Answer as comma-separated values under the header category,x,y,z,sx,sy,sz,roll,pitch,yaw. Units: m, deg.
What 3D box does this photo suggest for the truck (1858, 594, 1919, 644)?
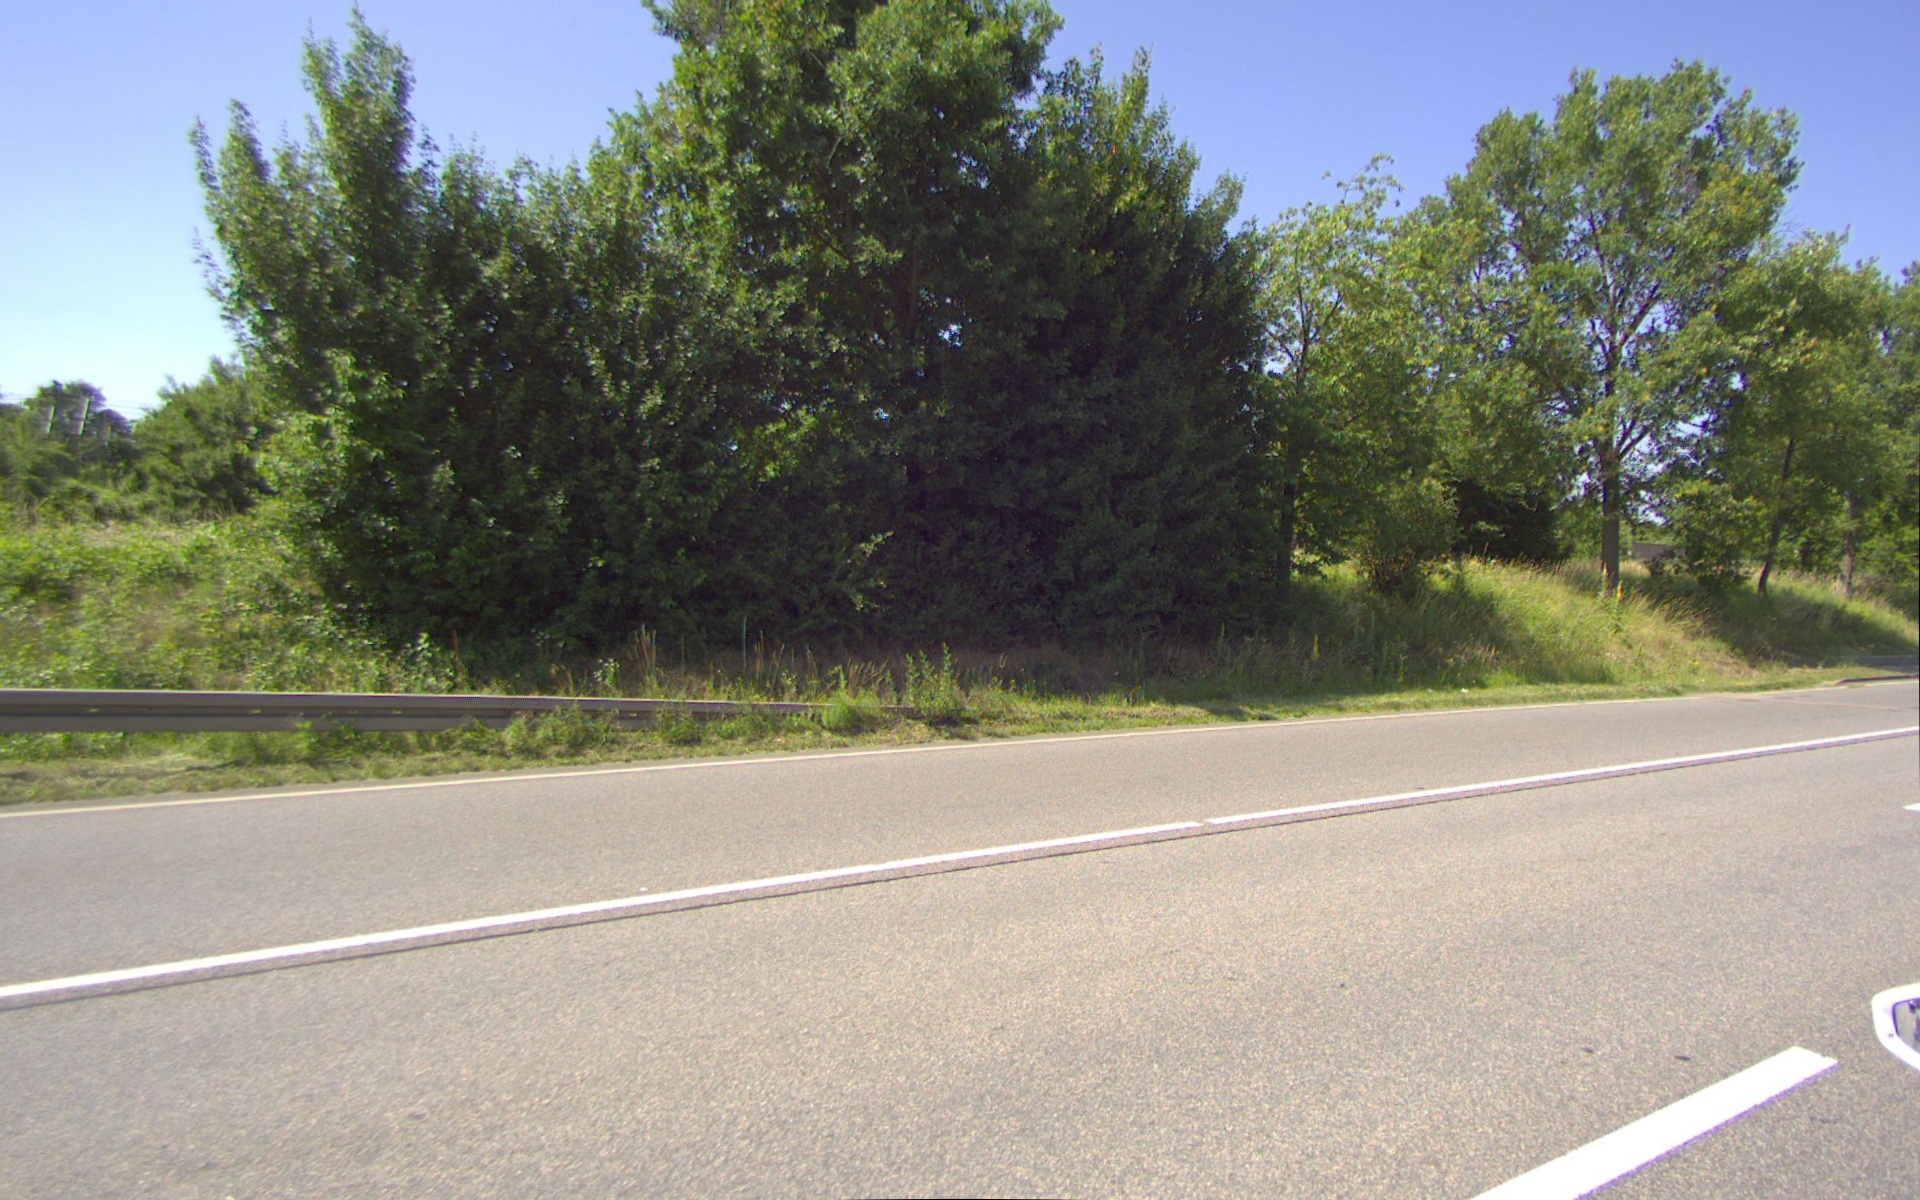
category,x,y,z,sx,sy,sz,roll,pitch,yaw
truck,50.112,0.996,50.861,2.672,2.532,6.406,1,0,-18
